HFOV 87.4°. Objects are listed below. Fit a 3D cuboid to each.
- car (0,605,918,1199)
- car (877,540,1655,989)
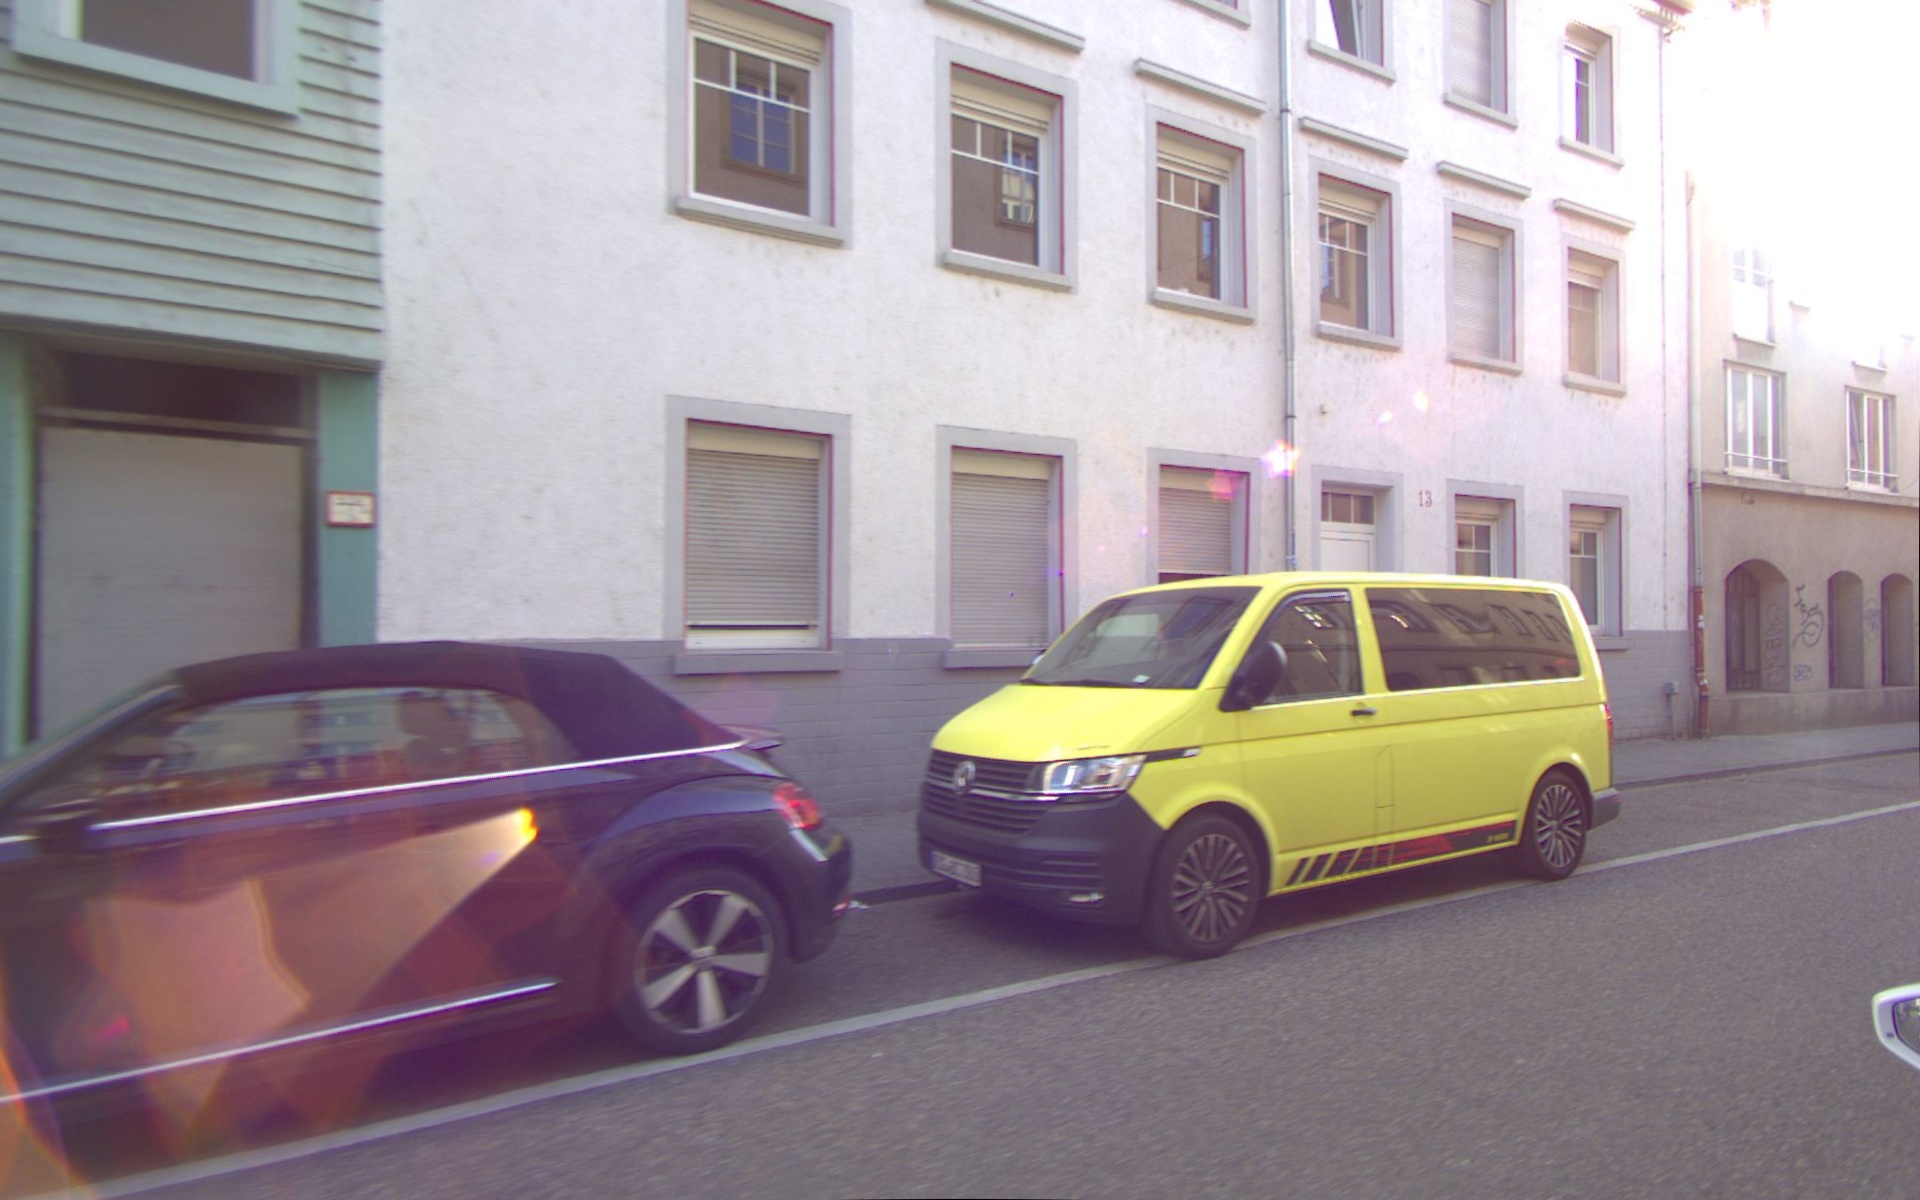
[{"bbox_3d":[-2.348,0.838,3.613,4.032,1.505,1.810,1,-4,-32],"label":"car"},{"bbox_3d":[2.058,0.783,6.300,4.807,1.891,1.872,1,-4,-30],"label":"car"}]
